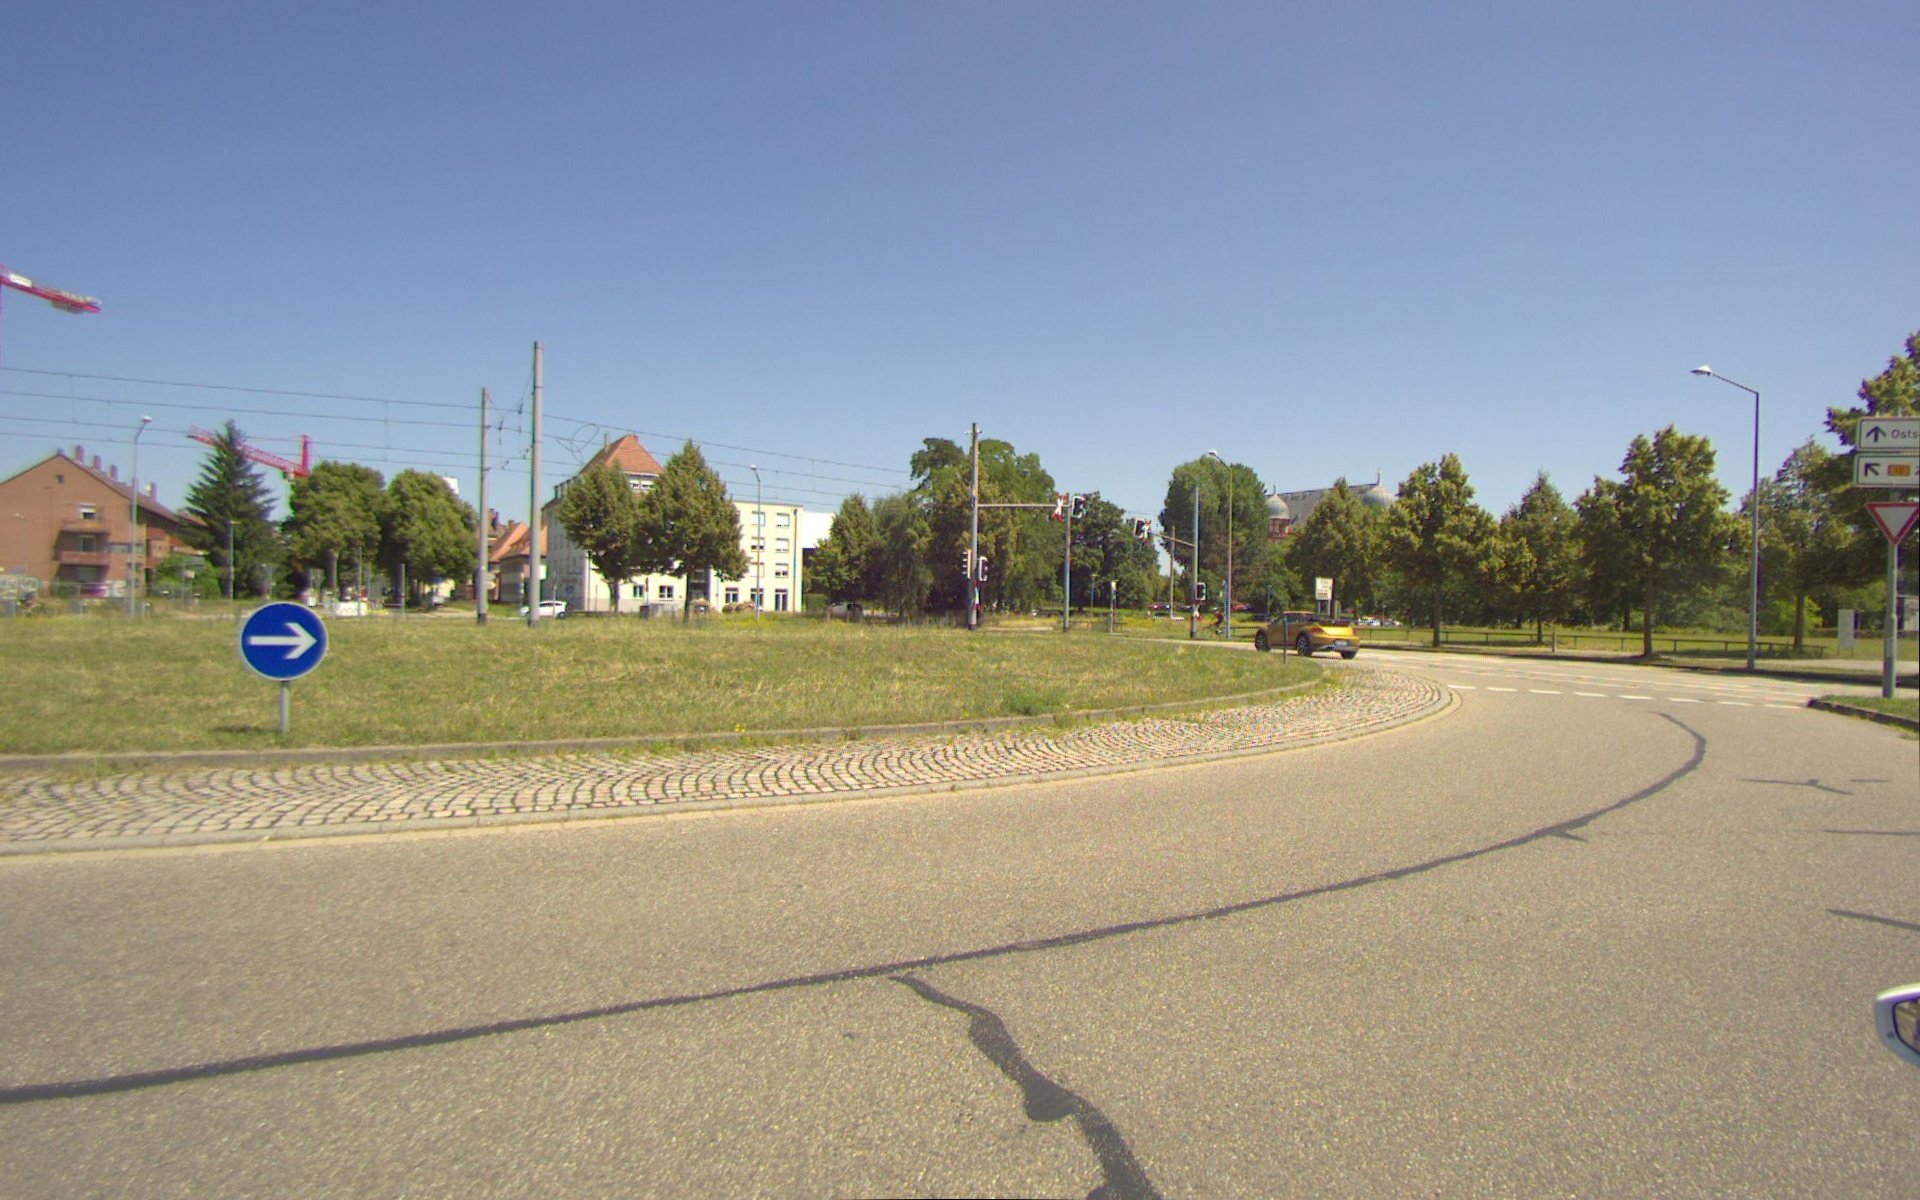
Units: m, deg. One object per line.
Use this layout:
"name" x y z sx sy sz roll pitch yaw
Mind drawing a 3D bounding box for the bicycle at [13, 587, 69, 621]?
"bicycle" -48.470 0.201 52.995 0.551 1.707 2.076 1 -2 40

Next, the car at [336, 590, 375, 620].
"car" -44.430 0.349 73.897 1.974 2.040 3.974 3 -1 -26

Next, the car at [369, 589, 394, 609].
"car" -63.741 -0.062 110.768 1.974 2.040 3.974 3 -1 -26

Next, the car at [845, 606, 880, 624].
"car" -12.145 1.859 125.218 3.920 2.040 2.001 2 -1 2

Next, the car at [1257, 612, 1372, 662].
"car" 11.277 1.162 32.210 1.799 1.421 3.653 2 -1 -12

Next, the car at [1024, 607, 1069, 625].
"car" 8.562 1.585 99.161 3.923 1.594 1.999 2 -1 23

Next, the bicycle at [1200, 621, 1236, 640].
"bicycle" 16.024 1.889 62.490 2.023 1.130 0.728 2 -1 33

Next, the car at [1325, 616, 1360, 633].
"car" 47.579 3.048 124.954 3.925 2.040 1.998 2 -1 26

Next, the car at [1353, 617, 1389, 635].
"car" 52.201 3.311 127.594 3.932 2.040 1.995 2 -1 34

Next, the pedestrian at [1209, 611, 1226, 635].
"pedestrian" 16.037 1.425 62.502 0.804 1.470 0.708 2 -1 33

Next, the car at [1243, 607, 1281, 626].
"car" 35.119 1.948 116.683 3.925 2.040 1.998 2 -1 26

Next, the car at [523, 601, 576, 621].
"car" -33.853 0.941 82.925 3.838 1.439 1.710 3 -1 -17

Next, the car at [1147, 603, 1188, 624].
"car" 22.596 1.467 109.279 3.925 2.040 1.998 2 -1 26

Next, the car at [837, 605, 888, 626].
"car" -8.540 1.363 88.012 3.947 1.706 1.987 3 -1 -26
